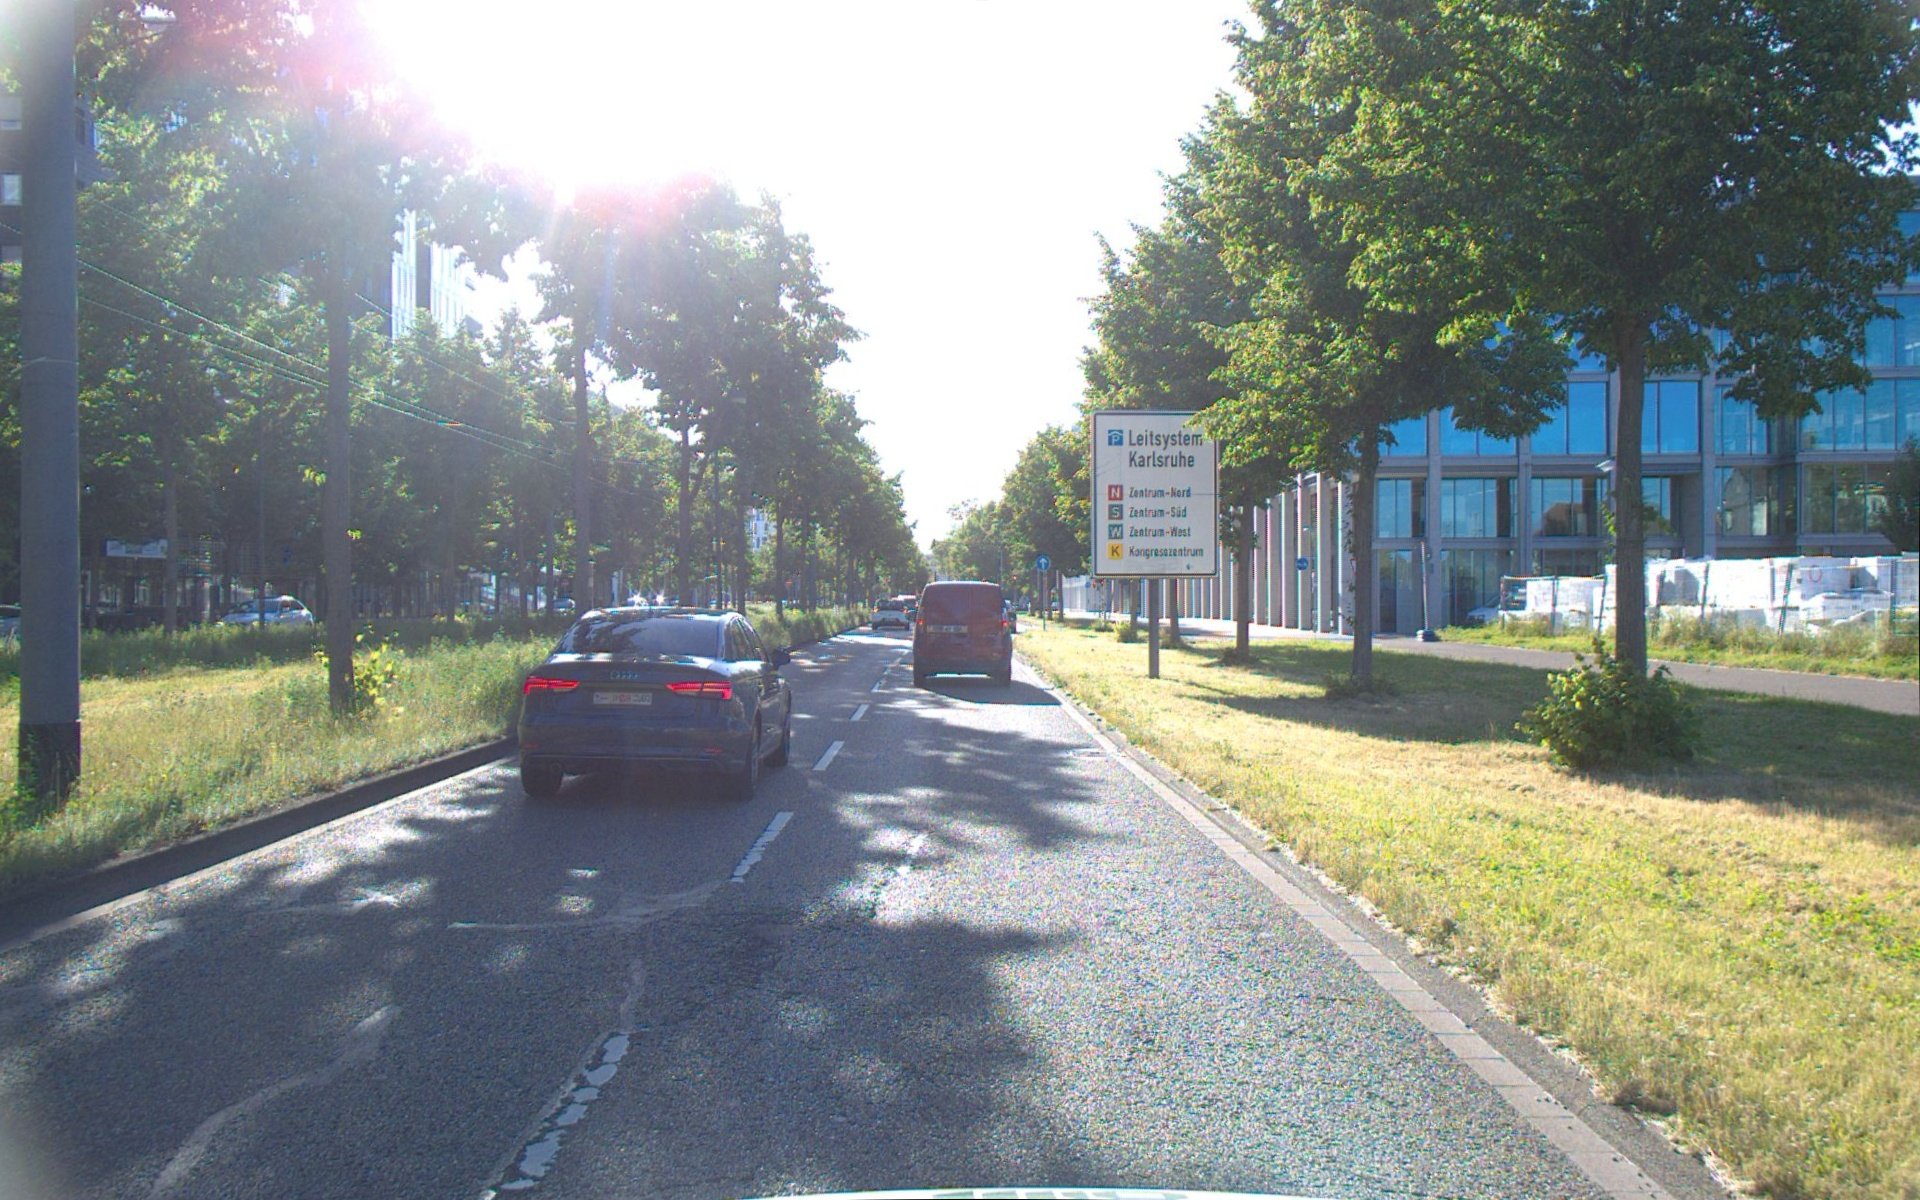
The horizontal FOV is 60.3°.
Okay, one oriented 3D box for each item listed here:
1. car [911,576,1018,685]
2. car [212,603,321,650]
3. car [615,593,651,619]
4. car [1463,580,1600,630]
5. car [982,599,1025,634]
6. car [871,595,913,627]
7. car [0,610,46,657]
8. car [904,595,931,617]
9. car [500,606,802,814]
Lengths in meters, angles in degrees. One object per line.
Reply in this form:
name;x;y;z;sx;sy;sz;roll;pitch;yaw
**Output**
car;0.033;0.517;30.119;1.761;1.808;3.999;2;0;-1
car;-22.536;0.829;53.925;1.761;1.314;4.310;-1;1;-1
car;-23.289;0.414;118.023;1.761;1.718;4.320;1;1;-1
car;23.231;0.202;67.378;4.959;2.016;1.939;0;0;4
car;1.943;0.723;75.182;1.686;1.450;3.815;2;1;-2
car;-3.173;0.484;77.462;1.903;1.466;3.998;0;0;-3
car;-30.883;1.063;52.104;1.680;1.445;4.544;0;0;0
car;-3.124;0.428;121.515;1.805;1.561;3.940;0;0;0
car;-2.309;0.760;13.383;1.686;1.390;4.145;0;0;0
